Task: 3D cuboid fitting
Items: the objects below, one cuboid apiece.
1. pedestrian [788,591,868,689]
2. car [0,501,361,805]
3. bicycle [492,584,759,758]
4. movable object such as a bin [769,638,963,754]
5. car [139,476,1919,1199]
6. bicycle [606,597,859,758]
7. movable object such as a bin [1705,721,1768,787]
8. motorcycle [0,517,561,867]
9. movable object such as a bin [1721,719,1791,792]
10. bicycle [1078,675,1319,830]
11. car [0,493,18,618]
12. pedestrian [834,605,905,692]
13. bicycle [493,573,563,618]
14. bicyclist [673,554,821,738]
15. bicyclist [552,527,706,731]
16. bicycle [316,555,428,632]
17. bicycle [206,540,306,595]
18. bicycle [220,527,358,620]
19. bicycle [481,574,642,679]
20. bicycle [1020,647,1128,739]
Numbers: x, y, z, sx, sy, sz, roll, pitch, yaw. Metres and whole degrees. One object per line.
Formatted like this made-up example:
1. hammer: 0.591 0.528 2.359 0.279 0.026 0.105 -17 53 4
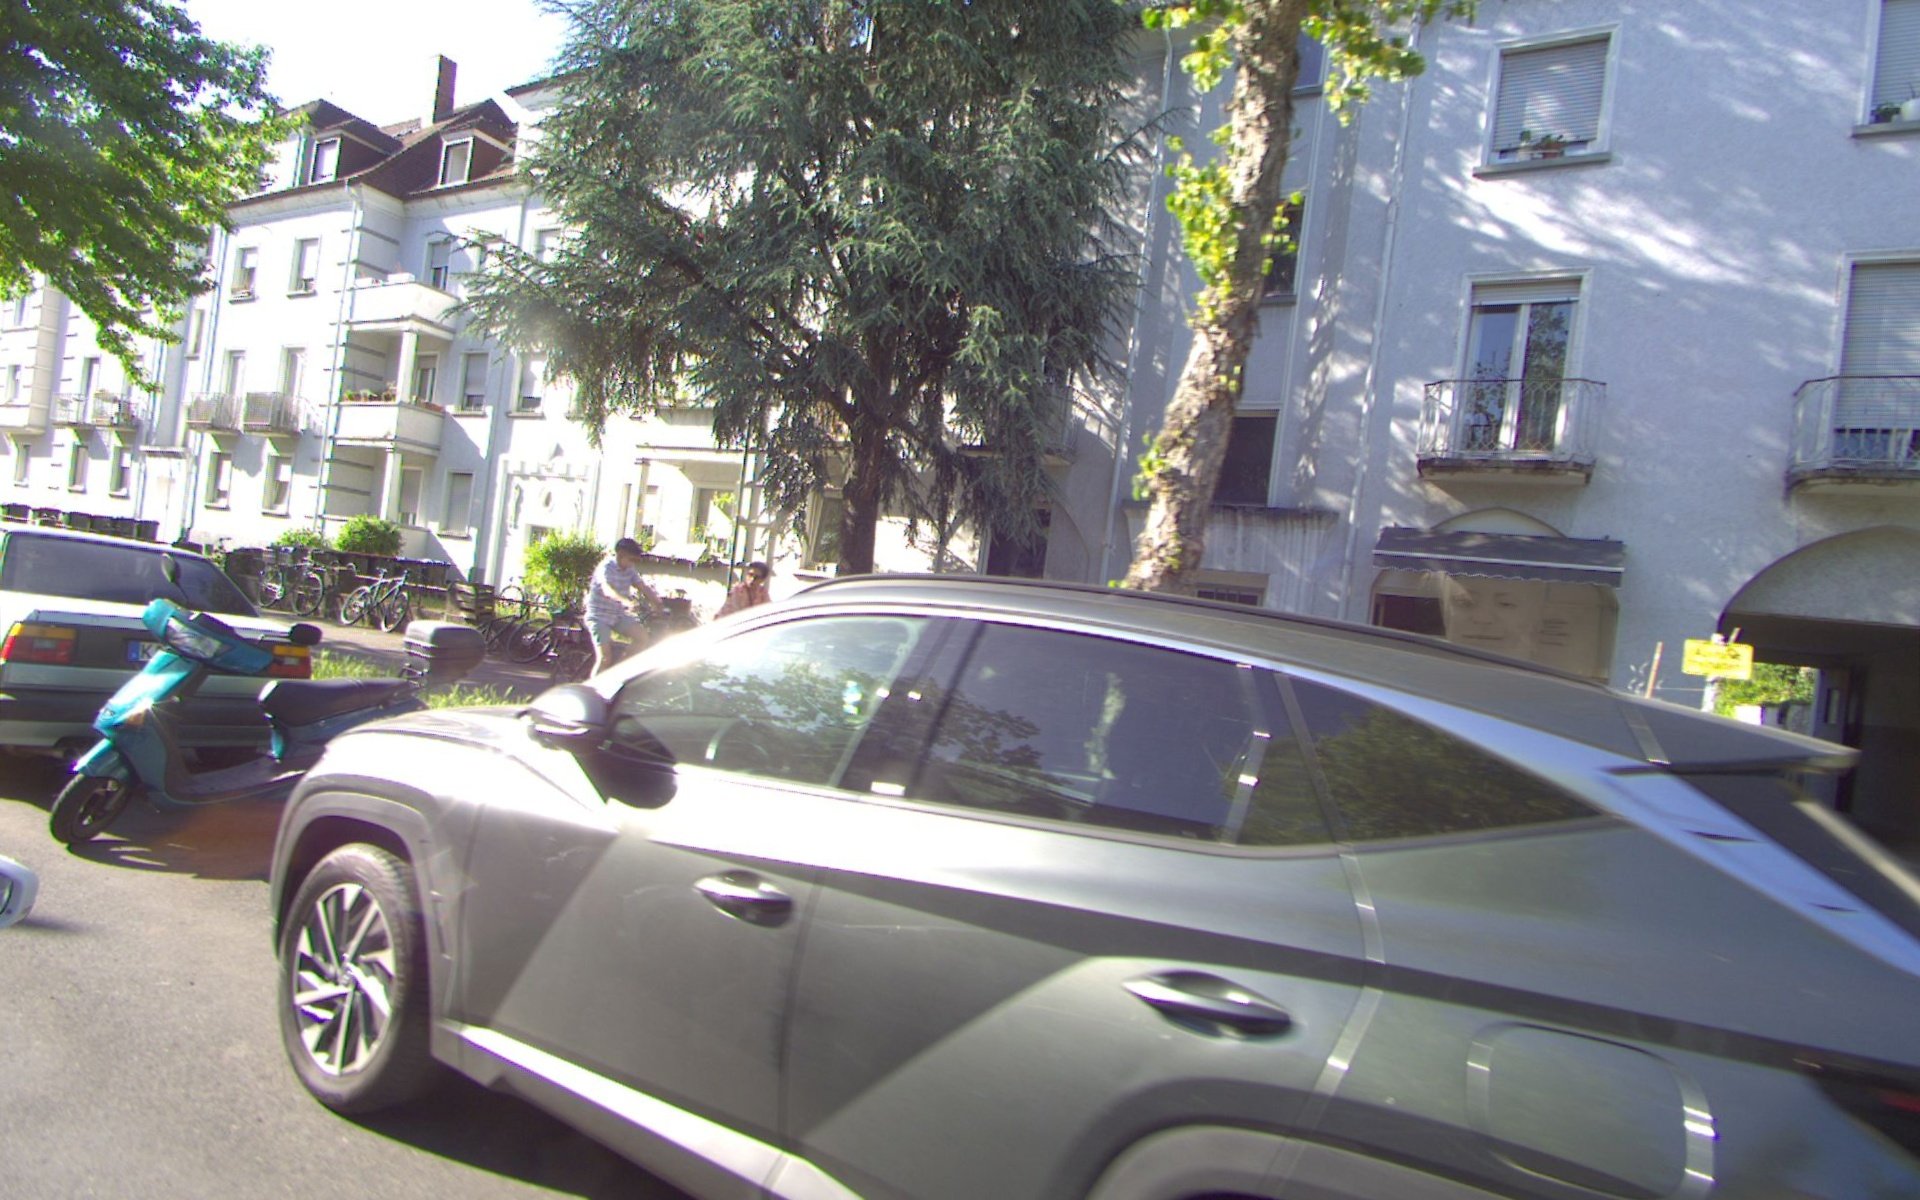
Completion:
1. pedestrian: -1.701 0.520 12.993 0.743 1.156 0.510 7 -1 32
2. car: -6.158 0.132 6.637 4.387 1.470 1.756 7 -3 31
3. bicycle: -2.982 0.579 8.871 2.361 1.167 0.685 7 0 27
4. movable object such as a bin: -0.995 0.976 10.390 1.216 0.915 1.646 8 -1 -39
5. car: 0.084 0.800 2.730 5.011 1.670 1.930 7 -3 32
6. bicycle: -2.203 0.701 9.604 2.361 1.167 0.685 7 0 27
7. movable object such as a bin: 19.980 3.949 25.915 1.061 1.465 0.815 7 0 31
8. motorcycle: -3.436 0.473 5.411 0.676 1.439 2.357 7 -1 29
9. movable object such as a bin: 19.212 3.743 24.310 1.045 1.548 0.940 7 0 31
10. bicycle: 2.054 1.284 8.800 1.872 0.987 0.582 7 0 32
11. car: -10.890 -0.497 9.460 4.366 1.558 1.697 7 -2 31
12. pedestrian: -1.306 0.700 14.542 0.743 1.156 0.511 7 -1 29
13. bicycle: -10.285 -0.086 24.021 0.467 0.984 1.582 7 2 24
14. bicyclist: -2.007 0.427 9.511 1.004 1.572 0.678 7 0 27
15. bicyclist: -2.904 0.251 8.842 0.905 1.629 0.678 7 0 27
16. bicycle: -9.178 -0.105 15.690 1.871 0.969 0.596 7 0 31
17. bicycle: -14.462 -0.650 20.693 0.492 0.984 1.580 7 2 30
18. bicycle: -11.227 -0.451 16.814 2.192 1.272 0.841 7 -1 27
19. bicycle: -5.334 0.348 13.452 1.965 1.128 0.806 7 -1 28
20. bicycle: 1.602 1.281 13.877 0.573 1.114 1.899 7 0 33
